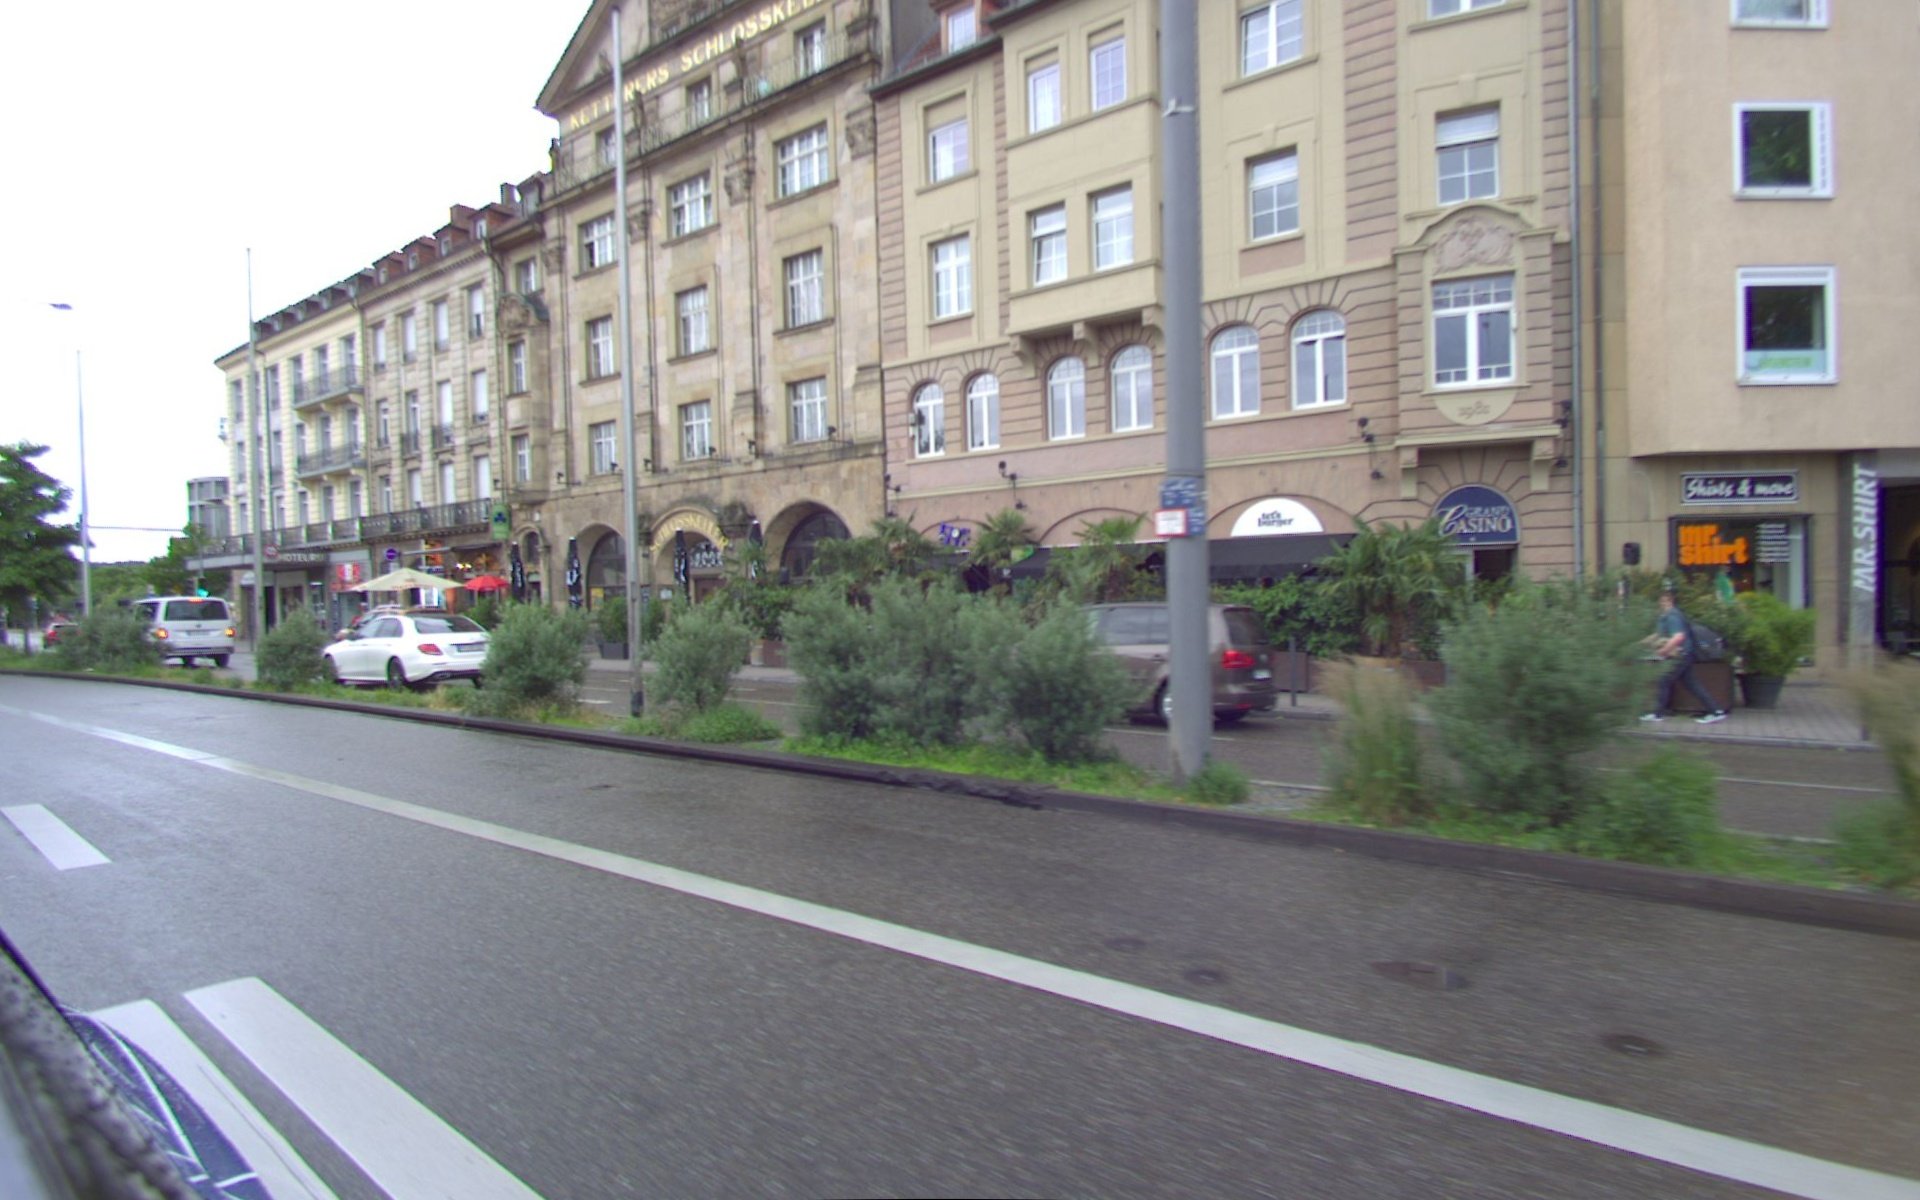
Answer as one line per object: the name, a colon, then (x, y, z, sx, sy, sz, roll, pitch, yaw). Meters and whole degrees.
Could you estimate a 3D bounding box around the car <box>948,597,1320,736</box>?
car: (2.237, 0.803, 13.819, 4.732, 1.591, 1.774, -1, -1, 38)

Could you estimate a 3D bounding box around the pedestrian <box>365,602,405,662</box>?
pedestrian: (-19.628, 1.087, 34.548, 0.765, 1.921, 0.671, 2, 12, 39)

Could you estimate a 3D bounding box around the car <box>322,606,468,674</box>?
car: (-15.375, 1.047, 27.469, 4.094, 1.693, 1.975, -1, -1, 37)

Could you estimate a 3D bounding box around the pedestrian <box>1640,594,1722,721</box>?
pedestrian: (9.070, 0.704, 12.754, 0.724, 1.541, 0.685, -1, -2, 28)

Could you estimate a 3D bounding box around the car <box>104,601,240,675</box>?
car: (-23.004, 1.064, 29.484, 4.846, 1.989, 1.903, -1, -1, 36)

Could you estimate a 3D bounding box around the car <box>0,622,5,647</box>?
car: (-70.561, 2.494, 73.354, 3.813, 1.763, 1.791, -1, -1, 45)

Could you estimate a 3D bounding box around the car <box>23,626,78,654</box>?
car: (-51.242, 2.227, 57.024, 3.910, 1.456, 1.661, -1, 0, 38)

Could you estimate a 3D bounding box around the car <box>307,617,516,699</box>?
car: (-10.874, 1.060, 19.912, 4.977, 1.417, 1.774, -1, -1, 38)
